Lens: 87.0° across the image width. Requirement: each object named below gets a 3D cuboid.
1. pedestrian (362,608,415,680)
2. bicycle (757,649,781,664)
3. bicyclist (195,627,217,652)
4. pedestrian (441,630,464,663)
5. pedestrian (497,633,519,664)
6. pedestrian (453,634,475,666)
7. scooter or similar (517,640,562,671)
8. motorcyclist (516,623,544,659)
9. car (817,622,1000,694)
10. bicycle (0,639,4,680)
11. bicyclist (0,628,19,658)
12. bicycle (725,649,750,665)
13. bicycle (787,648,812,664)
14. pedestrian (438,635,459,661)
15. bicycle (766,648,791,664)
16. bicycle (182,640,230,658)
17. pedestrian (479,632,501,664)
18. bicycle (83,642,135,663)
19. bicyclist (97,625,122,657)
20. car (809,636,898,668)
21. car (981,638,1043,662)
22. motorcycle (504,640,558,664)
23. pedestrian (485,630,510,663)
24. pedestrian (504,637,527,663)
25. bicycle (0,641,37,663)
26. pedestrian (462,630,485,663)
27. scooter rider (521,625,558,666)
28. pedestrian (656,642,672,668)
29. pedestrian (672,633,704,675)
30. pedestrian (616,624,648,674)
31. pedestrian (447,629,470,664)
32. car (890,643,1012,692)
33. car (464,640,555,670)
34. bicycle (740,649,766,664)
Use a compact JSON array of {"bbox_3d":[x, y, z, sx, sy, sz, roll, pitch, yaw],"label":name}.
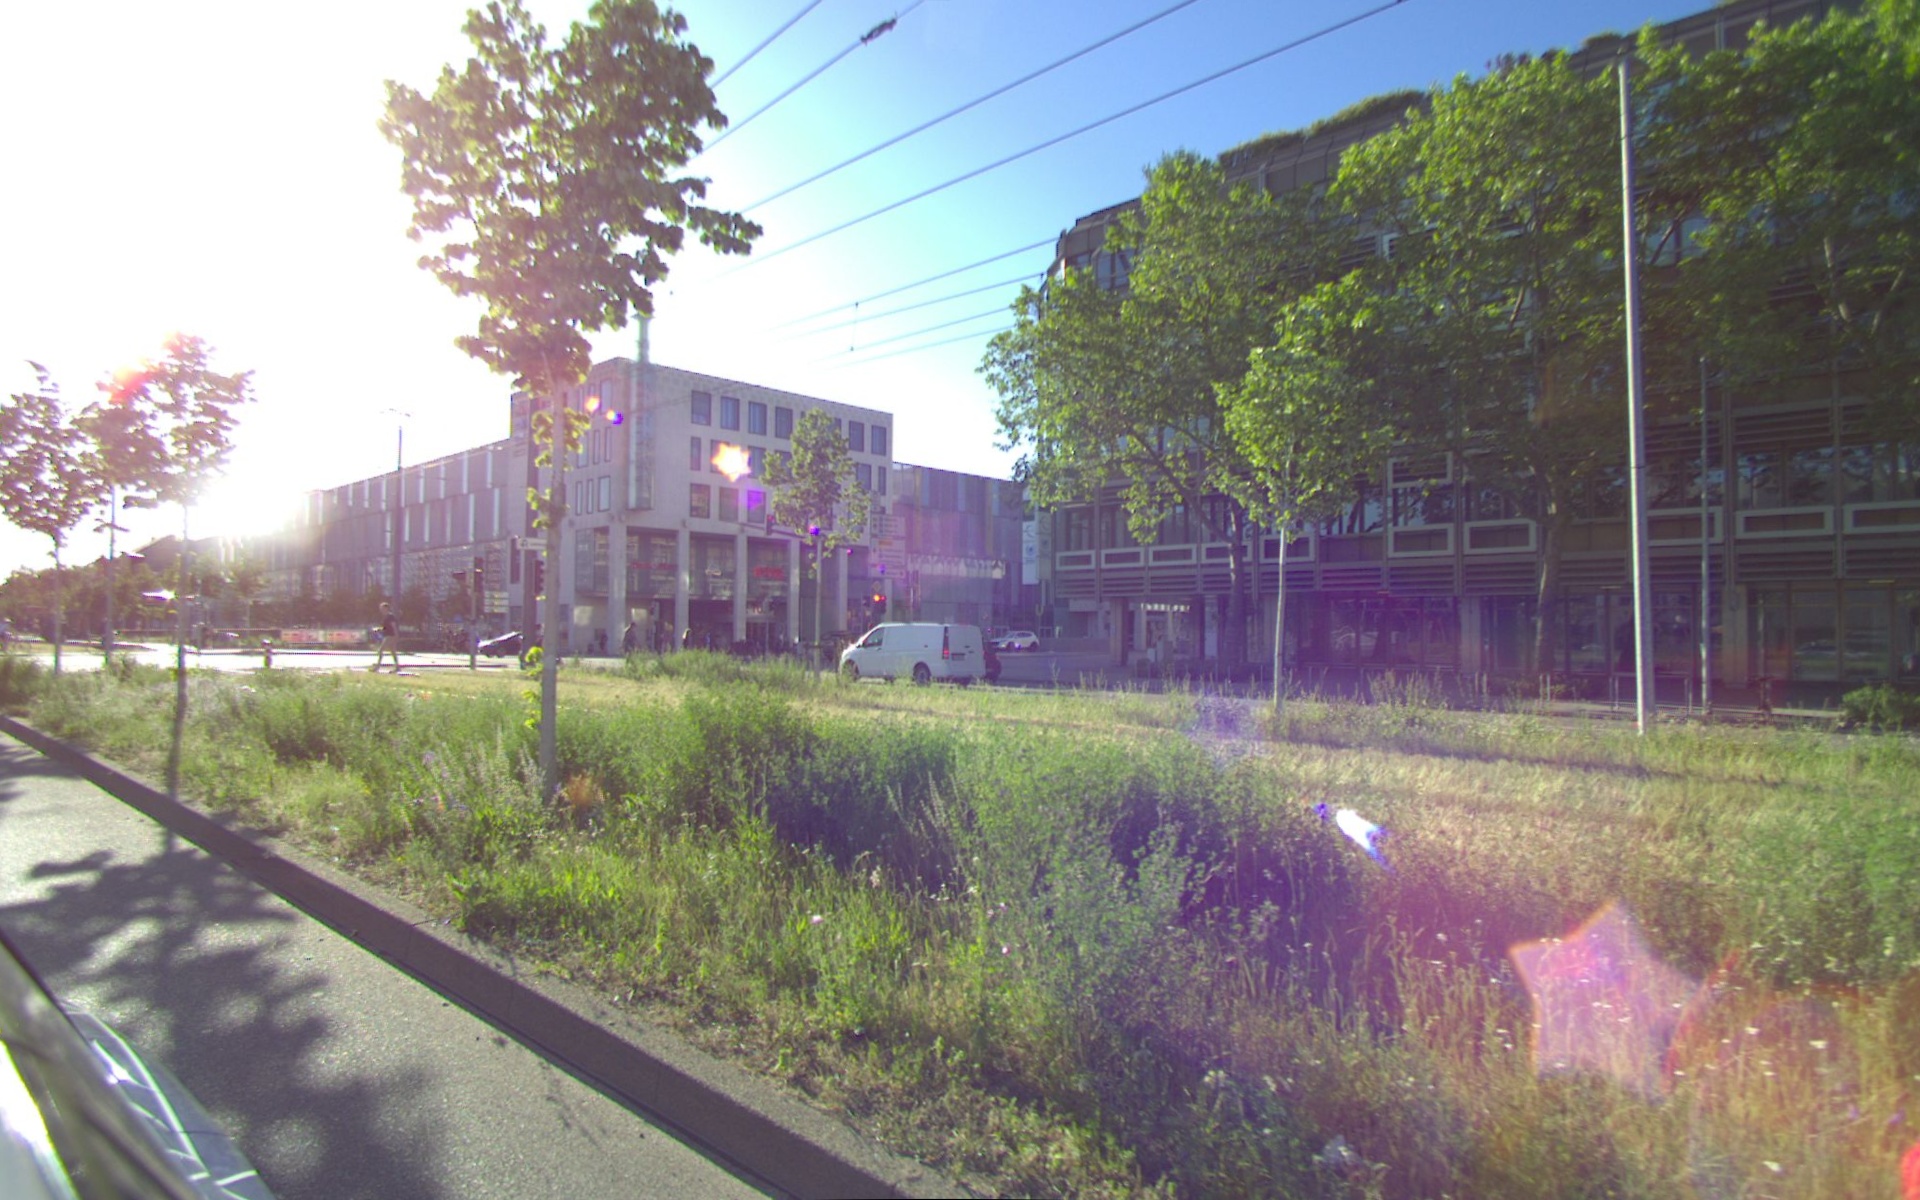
[{"bbox_3d":[-15.809,1.214,28.004,1.035,1.925,1.016,2,-3,-43],"label":"pedestrian"},{"bbox_3d":[-14.266,4.203,75.474,0.673,1.119,2.480,2,-3,-40],"label":"bicycle"},{"bbox_3d":[-42.415,2.223,56.949,0.805,1.367,0.830,-2,-2,41],"label":"bicyclist"},{"bbox_3d":[-32.795,3.001,65.393,0.889,2.140,0.943,0,-2,13],"label":"pedestrian"},{"bbox_3d":[-30.329,3.248,67.881,0.906,2.029,1.021,0,-2,8],"label":"pedestrian"},{"bbox_3d":[-33.513,3.342,68.400,0.895,2.140,0.937,-1,-3,31],"label":"pedestrian"},{"bbox_3d":[-16.255,2.134,39.117,0.644,1.184,1.462,-1,-2,44],"label":"scooter or similar"},{"bbox_3d":[-18.091,1.738,42.576,0.867,1.495,0.759,2,-2,-39],"label":"motorcyclist"},{"bbox_3d":[-1.694,1.776,31.323,5.707,2.029,2.234,-2,-5,42],"label":"car"},{"bbox_3d":[-26.944,1.608,27.149,1.771,1.102,0.710,2,-3,-36],"label":"bicycle"},{"bbox_3d":[-45.461,2.031,48.250,0.830,1.412,0.807,1,-2,-40],"label":"bicyclist"},{"bbox_3d":[-16.227,4.122,73.664,0.648,1.121,2.413,2,-3,-42],"label":"bicycle"},{"bbox_3d":[-12.233,4.252,77.038,0.673,1.119,2.479,2,-3,-41],"label":"bicycle"},{"bbox_3d":[-31.700,2.978,62.776,0.930,1.583,0.843,1,-2,-10],"label":"pedestrian"},{"bbox_3d":[-13.621,4.209,75.947,0.673,1.119,2.479,2,-3,-41],"label":"bicycle"},{"bbox_3d":[-42.407,2.755,56.934,0.805,0.934,2.049,-1,-2,41],"label":"bicycle"},{"bbox_3d":[-31.913,3.253,68.687,0.892,2.140,0.940,-1,-3,22],"label":"pedestrian"},{"bbox_3d":[-42.724,2.630,50.829,1.947,1.004,0.650,1,-2,-39],"label":"bicycle"},{"bbox_3d":[-42.728,2.059,50.857,0.926,1.556,0.650,1,-3,-39],"label":"bicyclist"},{"bbox_3d":[-5.888,2.861,56.501,2.200,1.675,4.727,-2,-3,40],"label":"car"},{"bbox_3d":[4.058,3.819,77.880,4.479,1.725,2.129,3,-2,-39],"label":"car"},{"bbox_3d":[-18.049,2.195,42.600,1.928,0.976,0.759,2,-2,-39],"label":"motorcycle"},{"bbox_3d":[-30.116,3.031,65.938,1.050,2.145,1.096,0,-2,6],"label":"pedestrian"},{"bbox_3d":[-28.873,3.263,65.760,0.995,1.663,0.946,0,-2,7],"label":"pedestrian"},{"bbox_3d":[-45.428,2.478,48.262,2.044,0.986,0.807,1,-2,-41],"label":"bicycle"},{"bbox_3d":[-32.010,3.054,66.621,0.891,2.140,0.941,0,-3,19],"label":"pedestrian"},{"bbox_3d":[-16.255,1.759,39.131,0.644,1.556,1.101,-1,-2,44],"label":"scooter rider"},{"bbox_3d":[-19.880,3.677,68.030,0.753,1.753,0.745,-2,-3,45],"label":"pedestrian"},{"bbox_3d":[-10.408,2.065,38.739,0.888,1.561,0.922,-1,-1,7],"label":"pedestrian"},{"bbox_3d":[-11.604,1.720,35.813,0.857,1.757,0.729,-2,-2,40],"label":"pedestrian"},{"bbox_3d":[-31.793,2.940,64.137,0.888,2.140,0.945,0,-2,7],"label":"pedestrian"},{"bbox_3d":[-0.327,2.267,34.147,3.879,1.497,1.820,-2,-6,42],"label":"car"},{"bbox_3d":[-24.975,3.019,56.182,4.230,1.593,1.945,2,-3,-45],"label":"car"},{"bbox_3d":[-15.276,4.157,74.588,0.673,1.119,2.479,2,-3,-42],"label":"bicycle"}]
